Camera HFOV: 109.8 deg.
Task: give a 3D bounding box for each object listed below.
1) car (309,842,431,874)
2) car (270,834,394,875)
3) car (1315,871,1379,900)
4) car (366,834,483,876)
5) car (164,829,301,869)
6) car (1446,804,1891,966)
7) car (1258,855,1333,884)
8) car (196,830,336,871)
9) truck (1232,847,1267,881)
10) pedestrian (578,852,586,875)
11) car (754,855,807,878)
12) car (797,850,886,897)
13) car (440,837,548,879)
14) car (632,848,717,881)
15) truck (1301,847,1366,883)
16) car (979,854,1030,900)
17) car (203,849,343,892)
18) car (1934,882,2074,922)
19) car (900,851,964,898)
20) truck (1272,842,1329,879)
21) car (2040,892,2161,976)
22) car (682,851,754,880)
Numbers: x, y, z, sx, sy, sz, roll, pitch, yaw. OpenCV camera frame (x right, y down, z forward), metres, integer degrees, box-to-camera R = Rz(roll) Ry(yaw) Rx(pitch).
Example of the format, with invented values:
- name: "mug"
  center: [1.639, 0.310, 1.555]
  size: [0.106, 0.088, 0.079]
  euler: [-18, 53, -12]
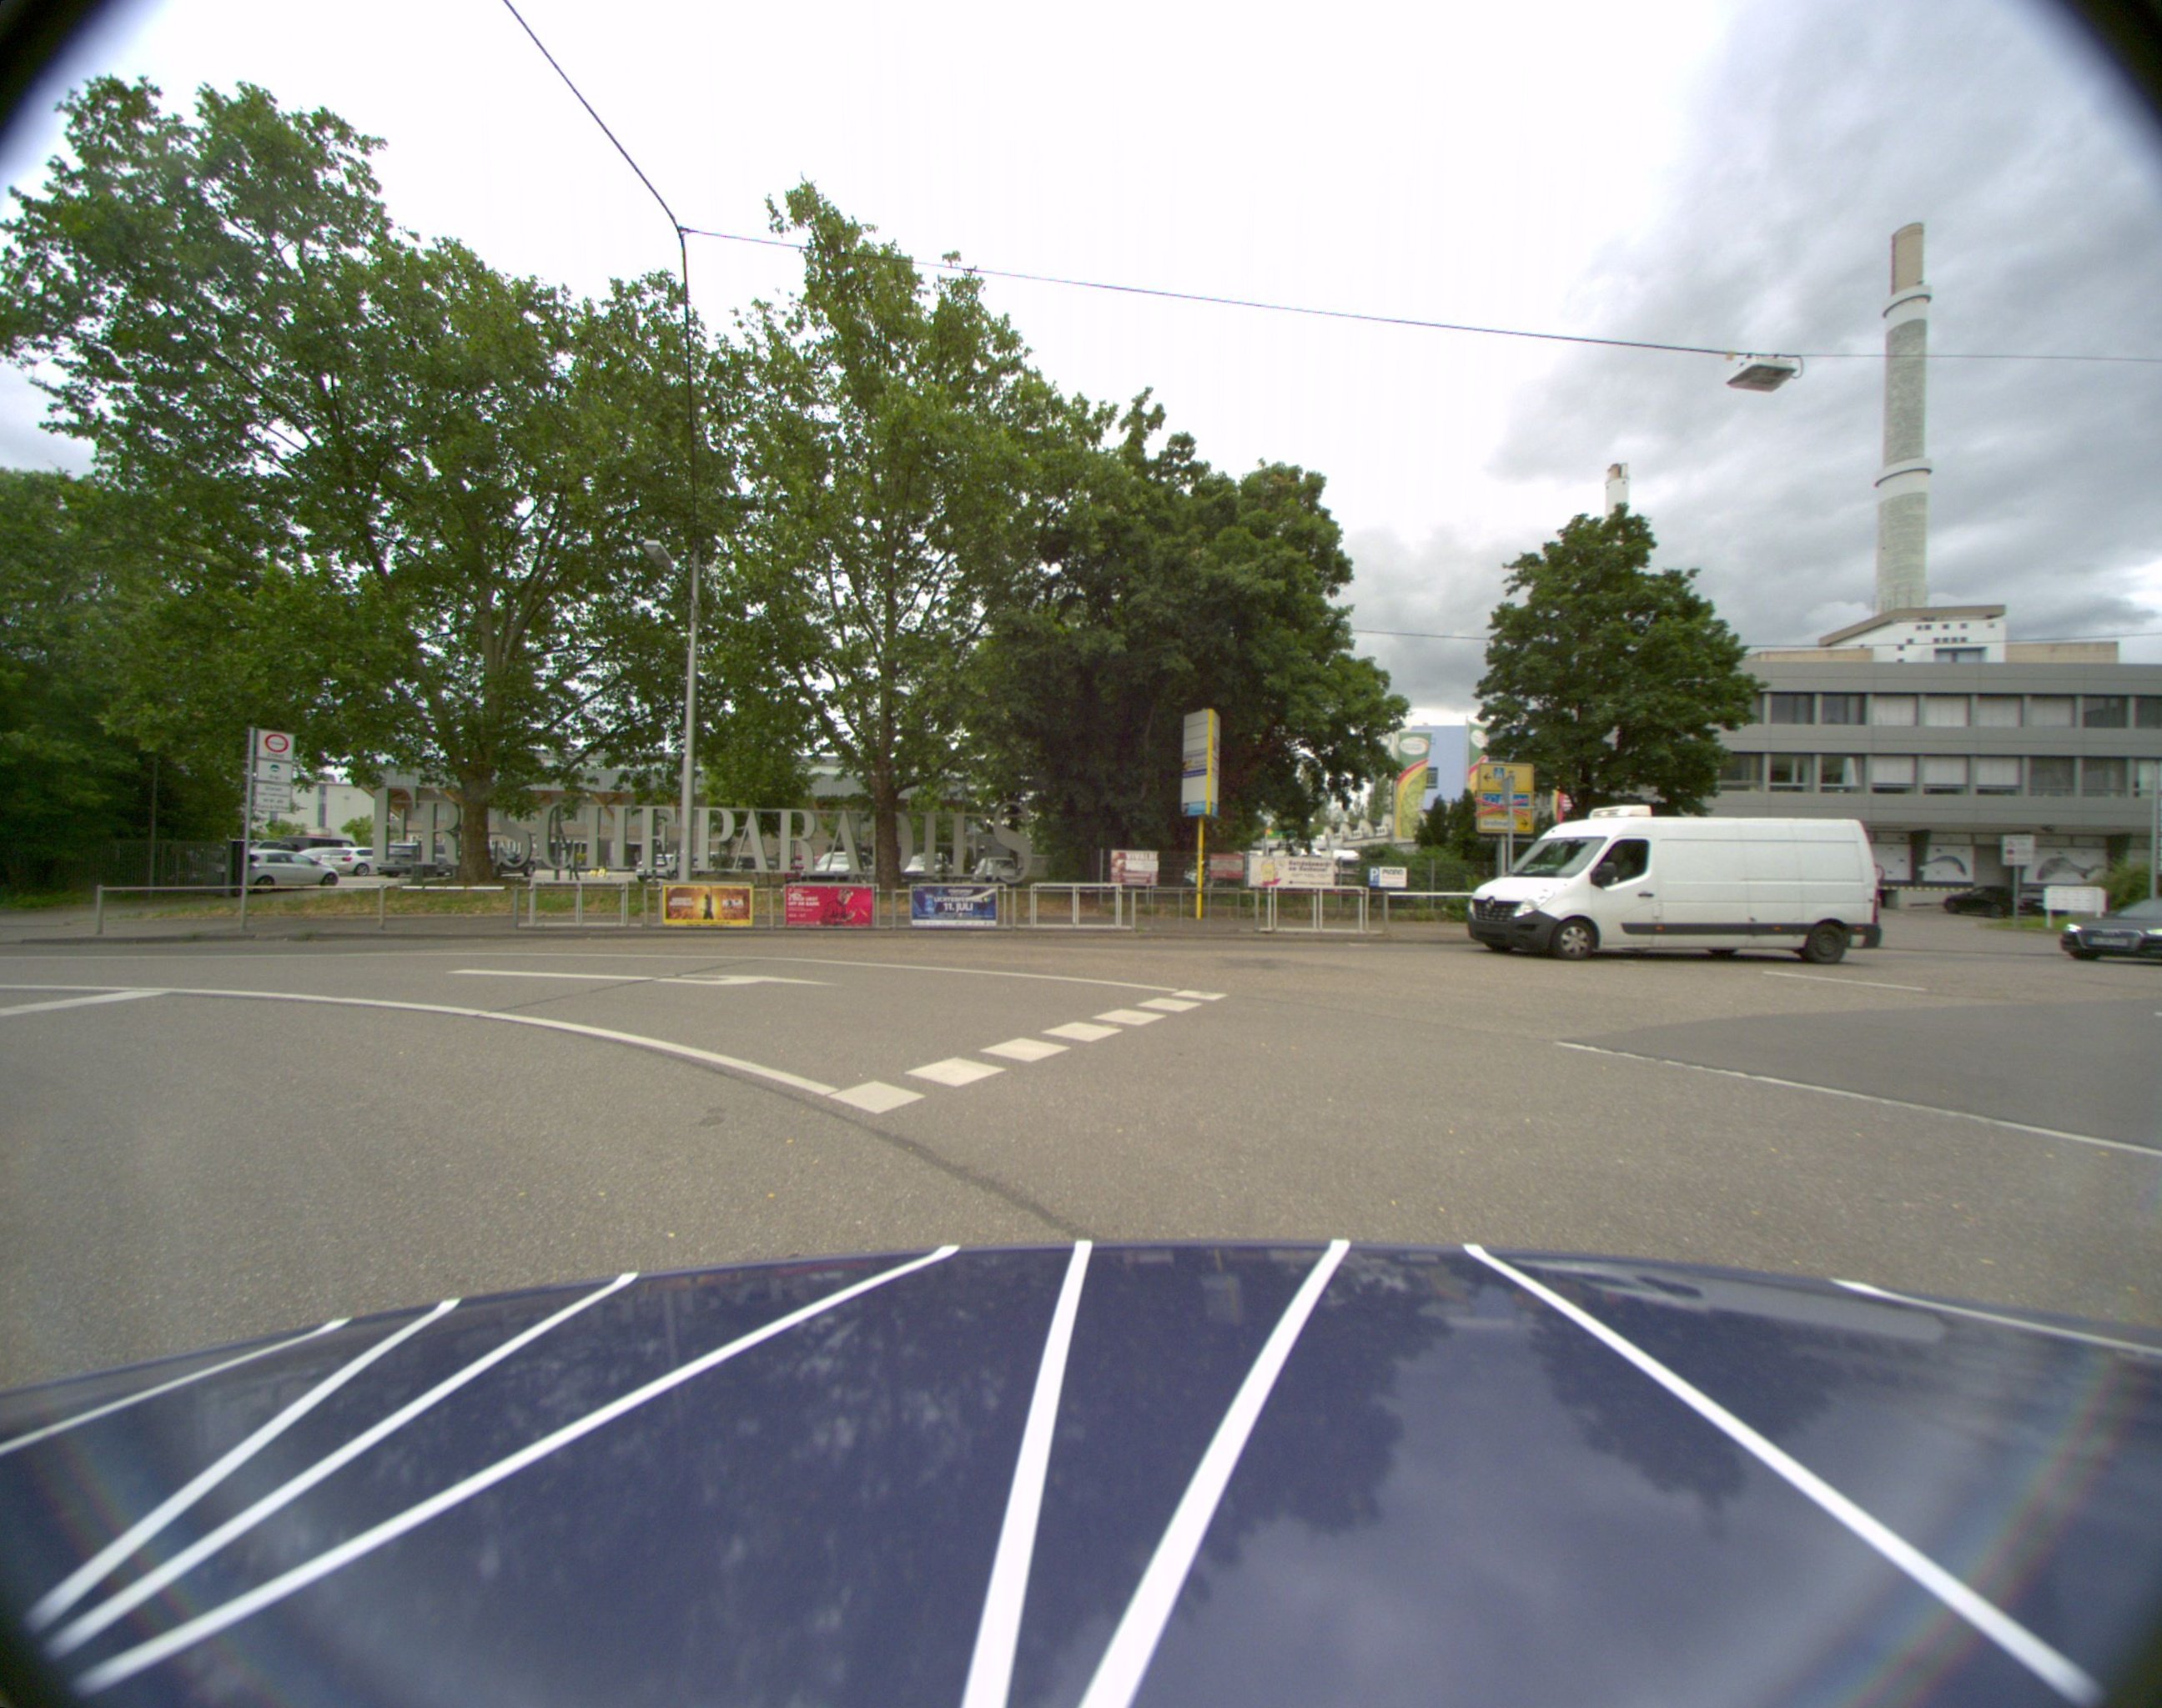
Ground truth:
- name: "car"
  center: [-36.920, 0.256, 39.658]
  size: [1.999, 1.549, 4.641]
  euler: [1, -1, -1]
- name: "car"
  center: [-39.694, 0.059, 40.475]
  size: [1.999, 2.001, 4.641]
  euler: [1, -1, -1]
- name: "car"
  center: [12.321, 1.437, 35.431]
  size: [1.708, 1.241, 3.702]
  euler: [2, -1, 1]
- name: "car"
  center: [-33.641, 0.113, 39.157]
  size: [1.999, 2.001, 4.641]
  euler: [1, -1, -1]
- name: "car"
  center: [-45.977, -0.212, 41.359]
  size: [1.999, 2.001, 4.824]
  euler: [1, -1, -1]
- name: "car"
  center: [9.871, 0.553, 13.102]
  size: [6.099, 2.444, 2.389]
  euler: [1, -1, -6]
- name: "car"
  center: [22.352, 1.606, 79.483]
  size: [7.146, 2.716, 2.245]
  euler: [2, -1, 4]
- name: "car"
  center: [-43.499, -0.122, 40.792]
  size: [1.999, 1.986, 5.103]
  euler: [1, -1, -1]
- name: "truck"
  center: [22.132, 1.336, 100.048]
  size: [2.996, 4.141, 9.192]
  euler: [1, -1, 4]
- name: "pedestrian"
  center: [-37.831, 0.744, 57.599]
  size: [0.342, 1.754, 0.437]
  euler: [2, -2, -23]
- name: "car"
  center: [-21.858, 0.937, 55.443]
  size: [1.999, 1.552, 4.641]
  euler: [1, -1, -1]
- name: "car"
  center: [-8.983, 0.747, 28.923]
  size: [1.883, 1.603, 4.527]
  euler: [1, -2, 1]
- name: "car"
  center: [-30.291, 0.232, 39.419]
  size: [1.999, 2.001, 4.641]
  euler: [1, -1, -1]
- name: "car"
  center: [-21.116, 0.558, 39.718]
  size: [1.999, 1.552, 4.641]
  euler: [1, -1, -1]
- name: "truck"
  center: [29.878, 1.322, 90.990]
  size: [2.849, 3.909, 15.733]
  euler: [2, -1, 2]
- name: "car"
  center: [-2.830, 0.869, 28.753]
  size: [1.591, 1.603, 4.001]
  euler: [1, -2, -1]
- name: "car"
  center: [-30.567, 0.626, 28.905]
  size: [1.481, 1.495, 3.729]
  euler: [1, -1, -4]
- name: "car"
  center: [42.423, 2.139, 35.126]
  size: [2.045, 1.437, 4.836]
  euler: [1, 1, 23]
- name: "car"
  center: [-5.534, 0.777, 28.699]
  size: [1.591, 1.603, 4.318]
  euler: [1, -2, -1]
- name: "truck"
  center: [25.982, 0.845, 90.964]
  size: [2.849, 3.909, 15.734]
  euler: [2, -1, 2]
- name: "car"
  center: [22.281, 1.591, 15.292]
  size: [4.442, 1.503, 1.864]
  euler: [1, -1, -11]
- name: "car"
  center: [-21.171, 0.677, 44.570]
  size: [1.999, 1.552, 4.641]
  euler: [1, -1, -1]
